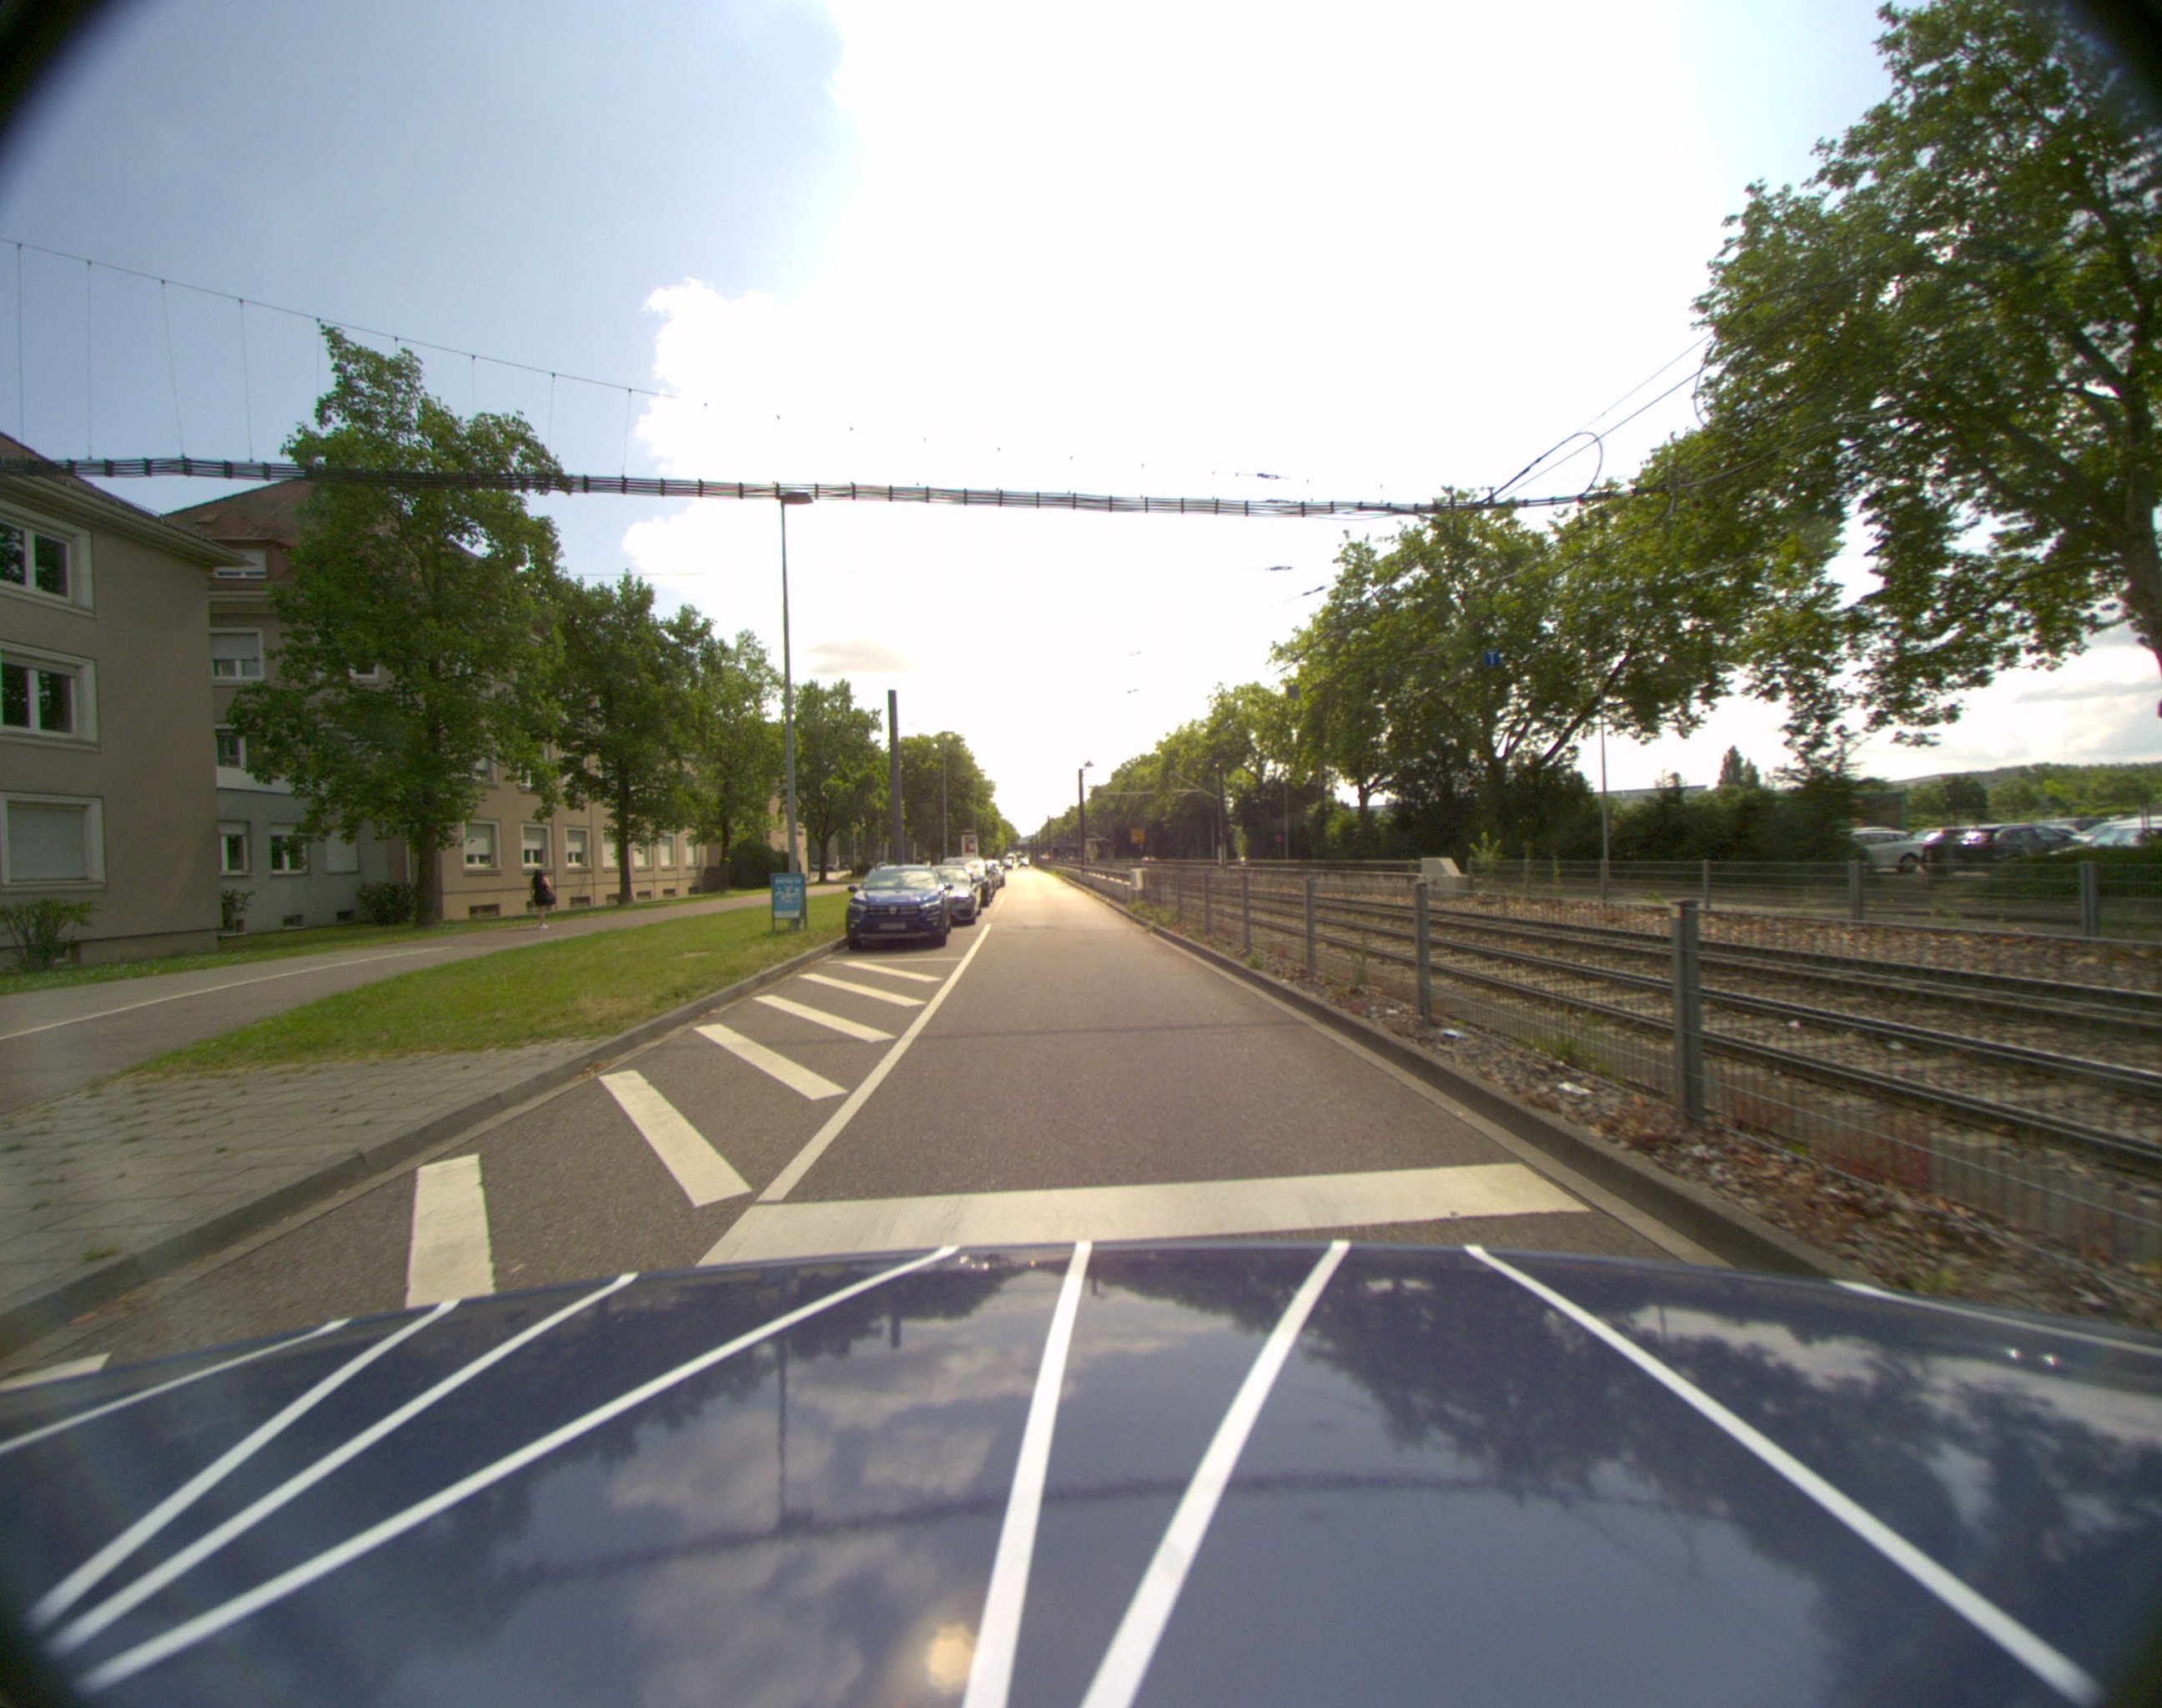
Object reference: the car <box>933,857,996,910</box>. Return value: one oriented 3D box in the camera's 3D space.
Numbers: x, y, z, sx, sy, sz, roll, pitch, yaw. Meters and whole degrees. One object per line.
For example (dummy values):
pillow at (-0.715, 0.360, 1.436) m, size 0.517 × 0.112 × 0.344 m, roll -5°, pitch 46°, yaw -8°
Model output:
car at (-3.984, 0.948, 26.681) m, size 1.822 × 1.652 × 4.668 m, roll -1°, pitch 0°, yaw -5°

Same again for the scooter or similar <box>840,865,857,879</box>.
scooter or similar at (-22.611, 1.741, 73.902) m, size 1.442 × 1.296 × 0.547 m, roll -2°, pitch 1°, yaw 11°

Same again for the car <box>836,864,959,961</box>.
car at (-3.454, 1.013, 15.083) m, size 1.784 × 1.531 × 4.418 m, roll -1°, pitch 0°, yaw -6°

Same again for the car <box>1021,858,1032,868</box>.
car at (-9.855, 1.536, 137.110) m, size 1.999 × 1.711 × 4.302 m, roll -1°, pitch 1°, yaw -4°

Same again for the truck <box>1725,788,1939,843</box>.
truck at (40.321, -2.033, 40.984) m, size 8.855 × 2.777 × 2.705 m, roll -1°, pitch 1°, yaw 0°

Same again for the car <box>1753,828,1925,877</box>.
car at (25.801, -0.058, 25.954) m, size 3.998 × 1.434 × 1.999 m, roll -2°, pitch 1°, yaw -4°

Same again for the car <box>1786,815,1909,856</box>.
car at (36.413, -0.865, 36.153) m, size 3.998 × 1.761 × 1.999 m, roll -2°, pitch 1°, yaw -4°

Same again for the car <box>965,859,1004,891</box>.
car at (-4.923, 1.036, 39.169) m, size 1.674 × 1.506 × 3.849 m, roll -1°, pitch 0°, yaw -3°

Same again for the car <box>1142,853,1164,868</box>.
car at (7.878, 0.682, 83.248) m, size 1.672 × 1.587 × 4.296 m, roll -1°, pitch 0°, yaw -5°

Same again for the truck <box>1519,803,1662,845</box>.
truck at (50.812, -2.978, 75.941) m, size 12.824 × 4.050 × 2.747 m, roll -1°, pitch 1°, yaw -3°

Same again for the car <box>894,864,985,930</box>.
car at (-3.601, 1.031, 20.153) m, size 1.822 × 1.445 × 4.988 m, roll -1°, pitch 0°, yaw -5°

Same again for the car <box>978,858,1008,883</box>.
car at (-5.707, 1.041, 49.787) m, size 1.712 × 1.471 × 3.788 m, roll -1°, pitch 0°, yaw -3°

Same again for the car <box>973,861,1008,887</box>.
car at (-5.151, 1.131, 43.791) m, size 1.829 × 1.304 × 4.440 m, roll -1°, pitch 0°, yaw -5°

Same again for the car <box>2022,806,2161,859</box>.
car at (37.091, -0.787, 27.416) m, size 3.998 × 1.761 × 1.999 m, roll -2°, pitch 1°, yaw -4°

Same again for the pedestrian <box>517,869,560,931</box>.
pedestrian at (-14.371, 1.217, 20.137) m, size 0.624 × 1.599 × 0.624 m, roll -1°, pitch 1°, yaw 1°

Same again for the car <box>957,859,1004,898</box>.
car at (-4.335, 0.999, 33.257) m, size 1.649 × 1.521 × 4.440 m, roll -1°, pitch 0°, yaw -3°

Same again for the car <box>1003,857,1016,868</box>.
car at (-11.382, 1.350, 121.242) m, size 1.810 × 1.496 × 3.732 m, roll -2°, pitch 1°, yaw -4°

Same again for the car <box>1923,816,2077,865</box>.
car at (36.902, -0.518, 30.573) m, size 3.998 × 1.761 × 1.999 m, roll -2°, pitch 1°, yaw -4°

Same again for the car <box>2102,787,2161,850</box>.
car at (26.503, -0.875, 17.330) m, size 3.998 × 1.434 × 1.999 m, roll -2°, pitch 1°, yaw -4°

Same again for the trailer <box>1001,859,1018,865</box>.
trailer at (-10.374, 1.149, 110.354) m, size 2.304 × 0.823 × 6.817 m, roll -2°, pitch 0°, yaw -4°
